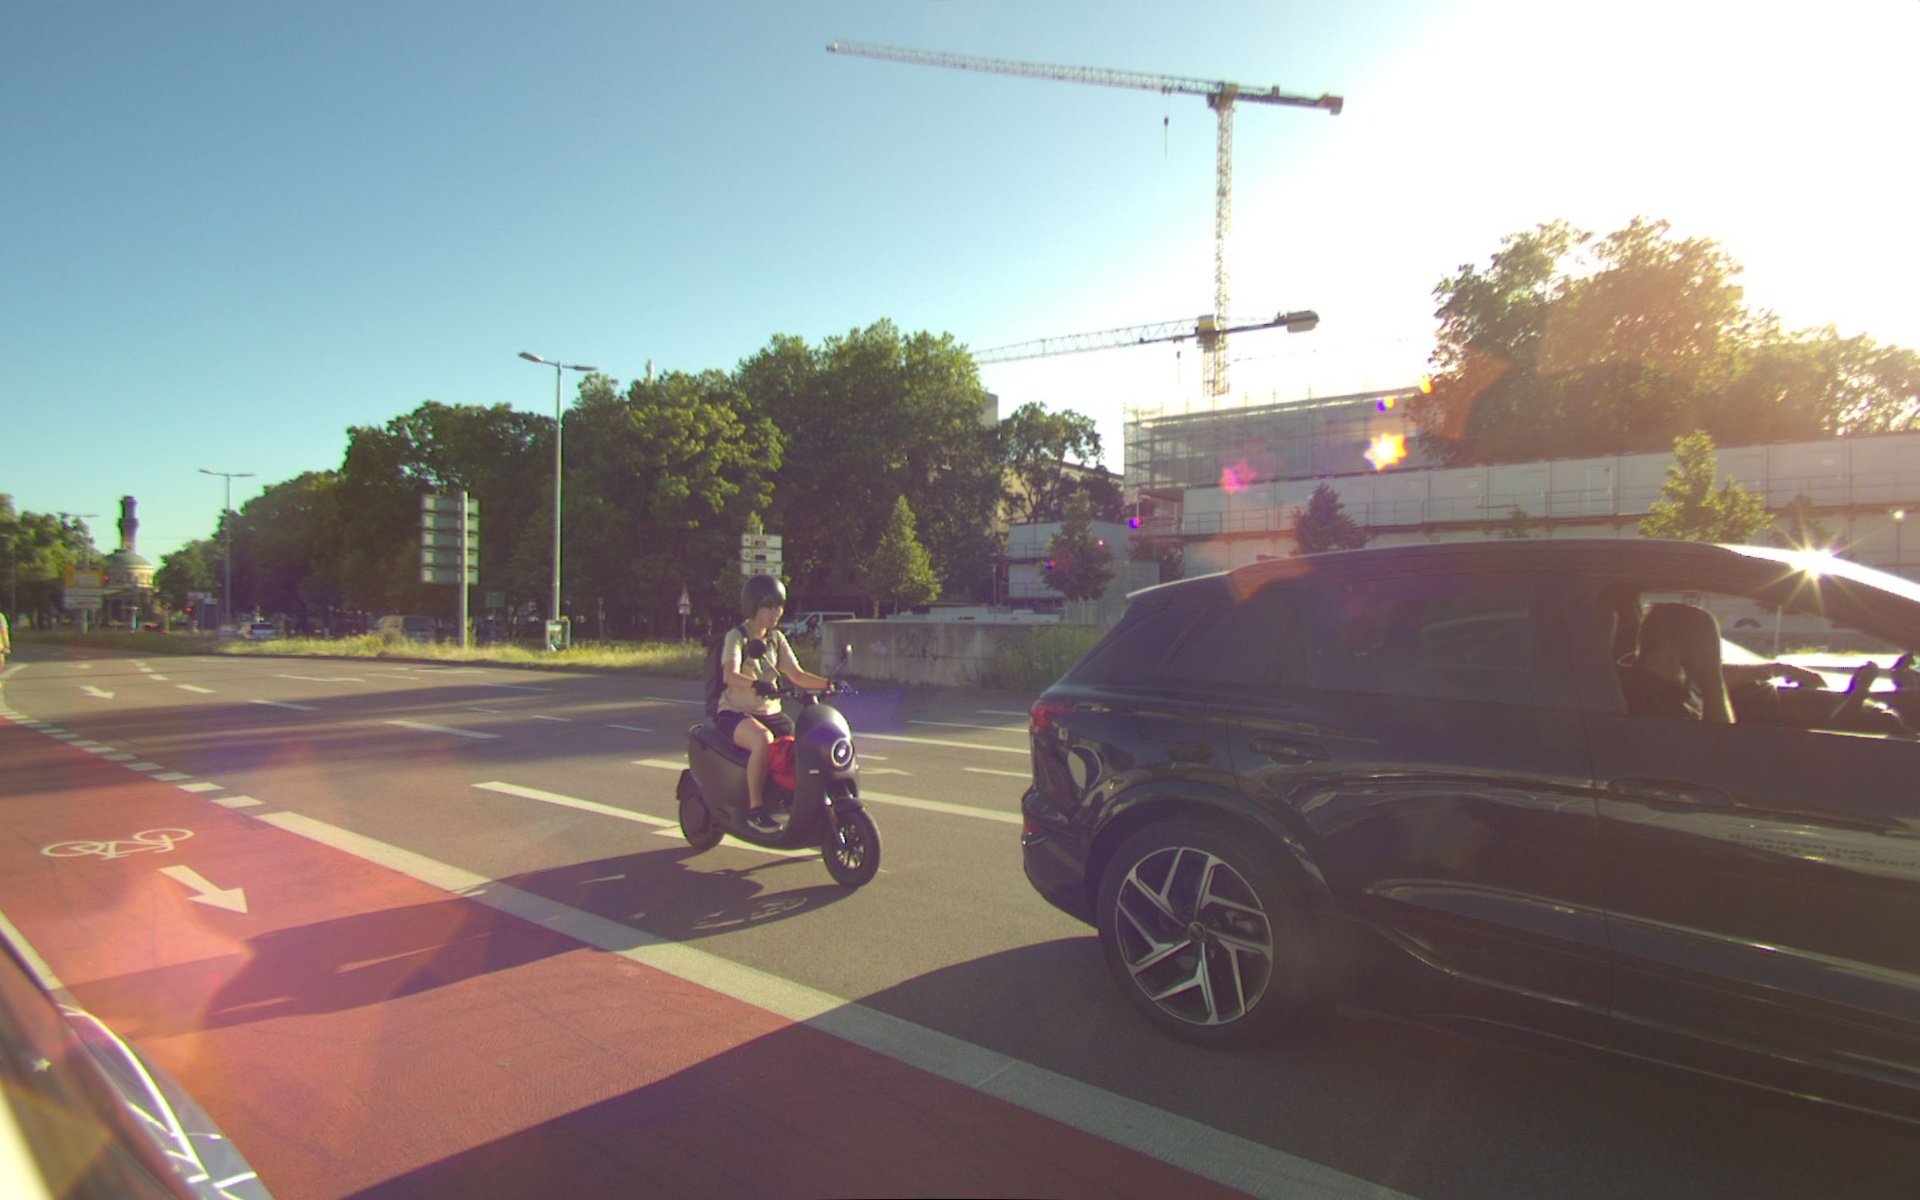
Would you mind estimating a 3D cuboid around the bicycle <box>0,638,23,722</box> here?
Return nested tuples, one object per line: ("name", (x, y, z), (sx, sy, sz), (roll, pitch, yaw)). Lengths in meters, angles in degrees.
("bicycle", (-14.691, 1.189, 15.238), (1.505, 1.201, 0.680), (-1, -2, 41))

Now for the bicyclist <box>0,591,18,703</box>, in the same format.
("bicyclist", (-14.732, 0.701, 15.264), (0.877, 1.671, 0.666), (-1, -2, 41))

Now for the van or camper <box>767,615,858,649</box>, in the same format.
("van or camper", (-8.960, 1.929, 61.884), (1.951, 1.960, 5.425), (-2, -2, 44))

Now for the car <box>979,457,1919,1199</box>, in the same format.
("car", (2.545, 0.554, 3.174), (4.660, 1.720, 2.144), (-1, -1, 40))

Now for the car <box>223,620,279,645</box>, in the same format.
("car", (-40.383, 1.856, 57.597), (3.941, 1.387, 1.705), (-1, -2, 41))

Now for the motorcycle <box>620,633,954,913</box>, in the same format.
("motorcycle", (-1.024, 0.840, 5.700), (1.943, 1.290, 0.817), (-1, -2, 41))

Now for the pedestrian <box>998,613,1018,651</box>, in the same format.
("pedestrian", (2.057, 1.355, 43.509), (0.597, 1.614, 0.580), (-1, 0, 38))

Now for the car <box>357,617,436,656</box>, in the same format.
("car", (-29.398, 1.862, 52.765), (4.925, 1.937, 1.863), (-1, -2, 39))

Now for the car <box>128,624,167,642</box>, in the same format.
("car", (-69.007, 2.790, 85.939), (3.979, 1.492, 1.857), (-1, -2, 41))

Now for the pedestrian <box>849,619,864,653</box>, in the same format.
("pedestrian", (-4.657, 1.603, 45.465), (0.494, 1.522, 0.492), (-1, -2, 41))

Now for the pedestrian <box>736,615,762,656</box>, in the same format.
("pedestrian", (-10.605, 1.764, 50.865), (0.837, 2.029, 0.947), (-1, 0, 31))

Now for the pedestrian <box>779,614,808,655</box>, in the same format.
("pedestrian", (-8.234, 1.668, 50.043), (0.815, 1.978, 1.111), (-1, 0, 41))

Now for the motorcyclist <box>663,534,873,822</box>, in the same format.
("motorcyclist", (-1.089, 0.410, 5.775), (0.877, 1.475, 0.813), (-1, -2, 41))
